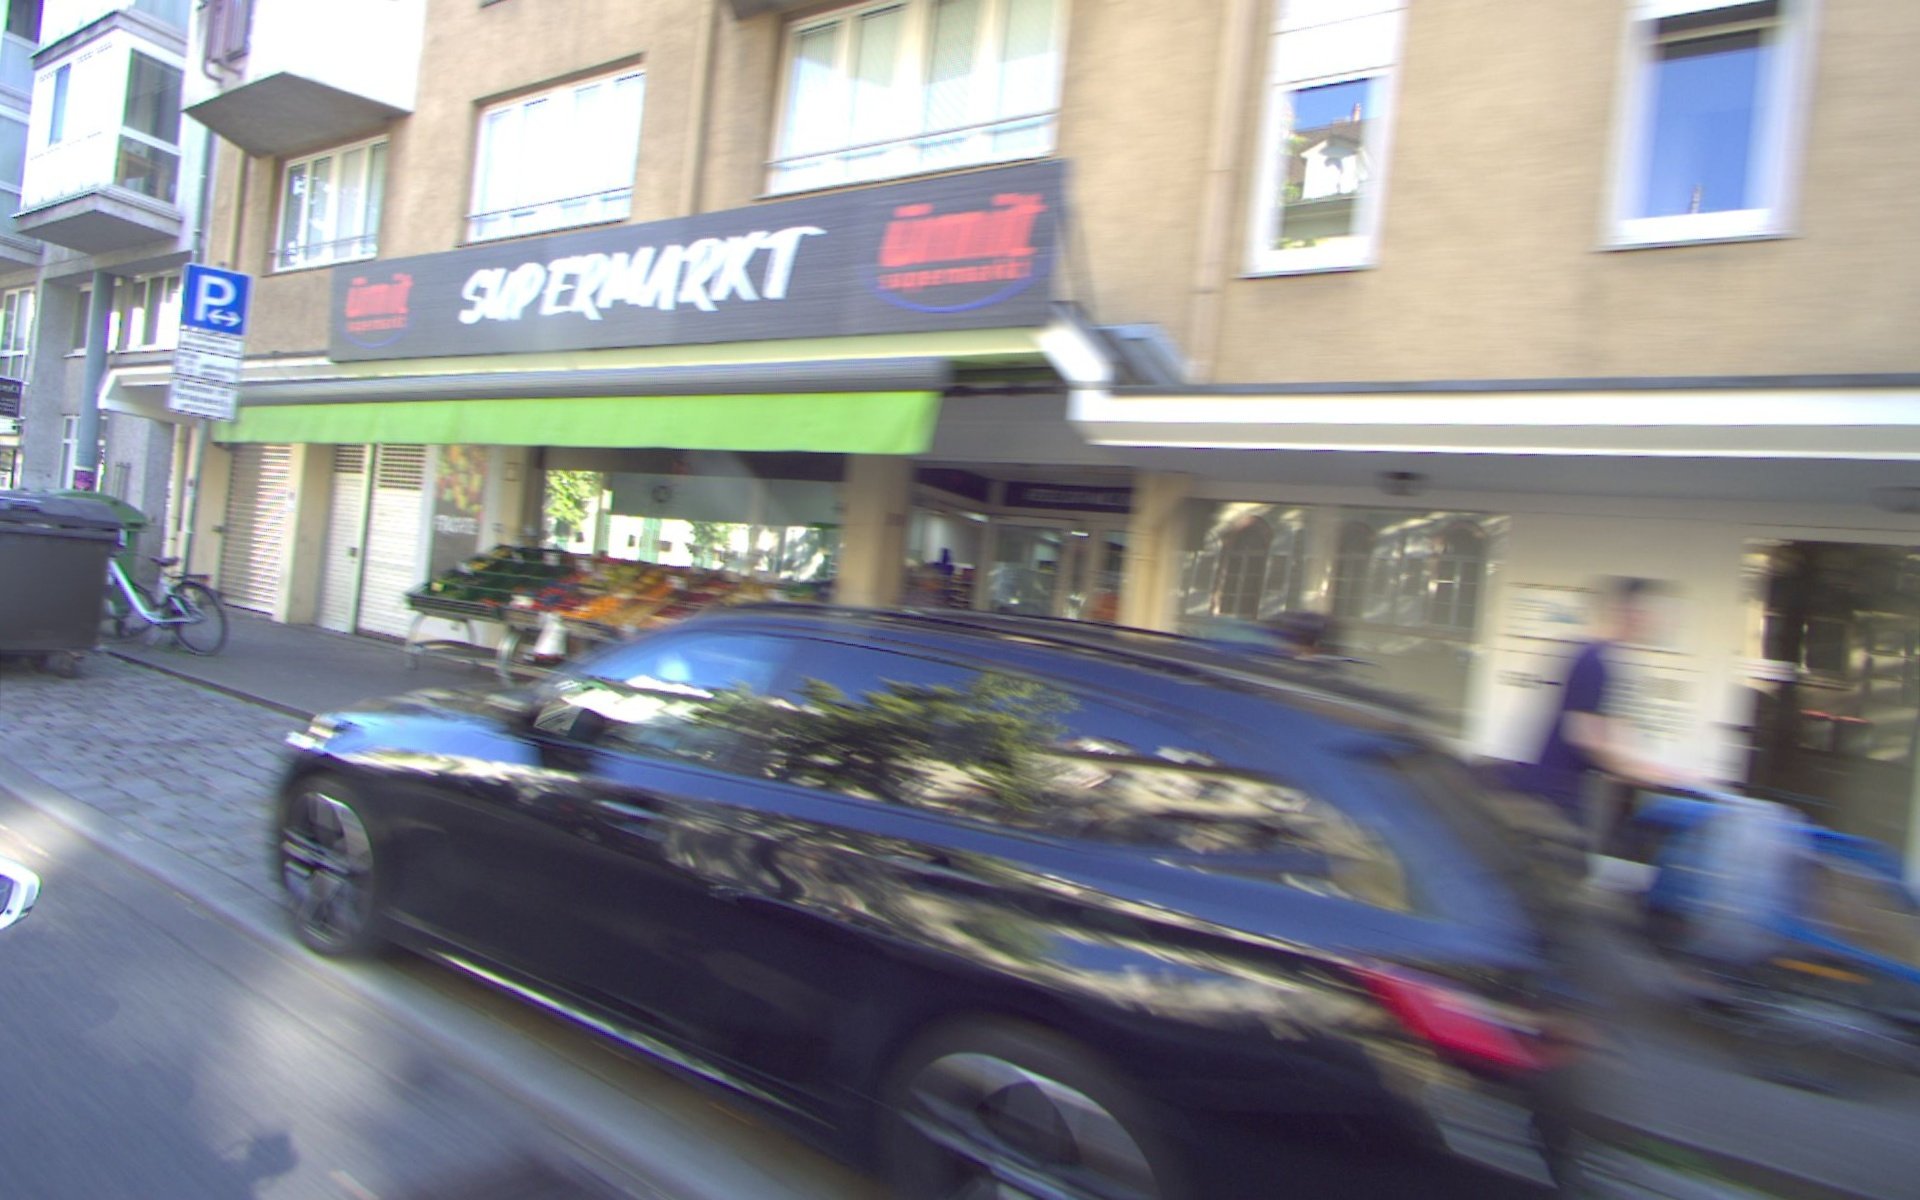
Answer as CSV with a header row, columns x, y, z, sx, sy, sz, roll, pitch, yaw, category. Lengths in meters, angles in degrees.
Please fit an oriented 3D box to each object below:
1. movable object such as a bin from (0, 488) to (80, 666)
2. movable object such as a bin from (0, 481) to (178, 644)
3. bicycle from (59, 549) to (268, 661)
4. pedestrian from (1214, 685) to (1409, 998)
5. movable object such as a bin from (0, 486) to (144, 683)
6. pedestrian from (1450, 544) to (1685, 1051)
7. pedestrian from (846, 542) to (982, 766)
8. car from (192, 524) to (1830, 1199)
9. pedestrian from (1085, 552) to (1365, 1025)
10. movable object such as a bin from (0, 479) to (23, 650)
x,y,z,sx,sy,sz,roll,pitch,yaw,category
-8.552,-0.259,8.453,1.127,1.472,1.400,7,1,32,movable object such as a bin
-8.852,-0.369,10.136,1.274,1.449,1.078,7,1,32,movable object such as a bin
-7.528,0.044,9.525,1.610,0.883,0.570,5,1,9,bicycle
1.469,0.988,4.248,0.438,1.177,0.498,6,1,-25,pedestrian
-7.552,-0.155,7.904,1.127,1.472,1.400,7,1,32,movable object such as a bin
2.312,0.692,3.820,0.496,1.717,0.627,7,1,41,pedestrian
-0.361,0.423,8.076,0.608,1.662,0.760,7,1,32,pedestrian
-0.468,0.705,3.437,4.830,1.492,1.822,7,2,32,car
1.091,0.707,4.171,0.752,1.717,0.615,7,1,43,pedestrian
-9.536,-0.409,9.021,1.127,1.562,1.332,7,1,32,movable object such as a bin
